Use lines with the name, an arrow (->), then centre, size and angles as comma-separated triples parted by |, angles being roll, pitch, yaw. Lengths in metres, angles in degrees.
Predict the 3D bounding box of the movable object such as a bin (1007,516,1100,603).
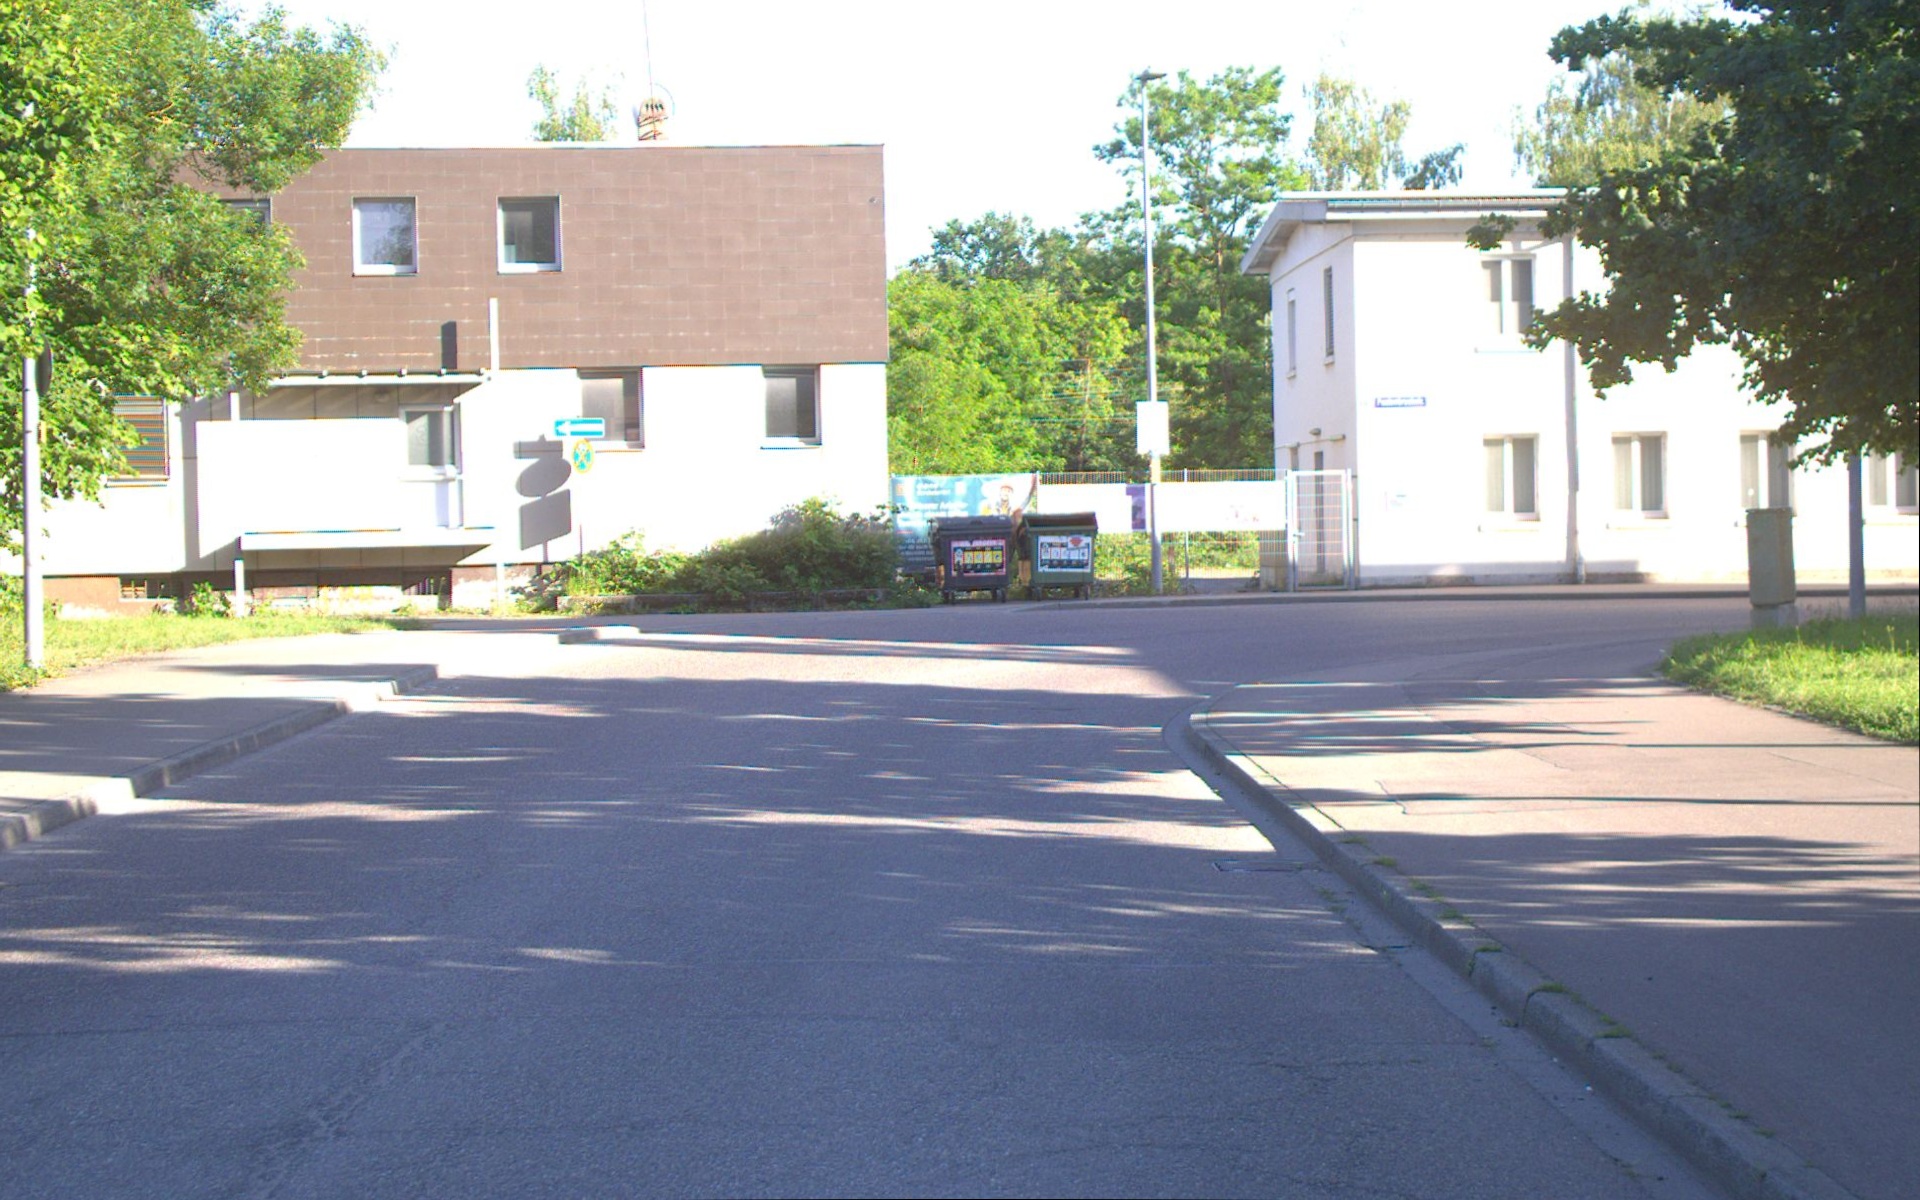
movable object such as a bin -> 1.537, -0.667, 56.671 | 1.364, 1.413, 1.066 | 1, 0, -7

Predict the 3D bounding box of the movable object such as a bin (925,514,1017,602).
movable object such as a bin -> 0.167, -0.680, 56.327 | 1.364, 1.413, 1.066 | 1, 0, -7
